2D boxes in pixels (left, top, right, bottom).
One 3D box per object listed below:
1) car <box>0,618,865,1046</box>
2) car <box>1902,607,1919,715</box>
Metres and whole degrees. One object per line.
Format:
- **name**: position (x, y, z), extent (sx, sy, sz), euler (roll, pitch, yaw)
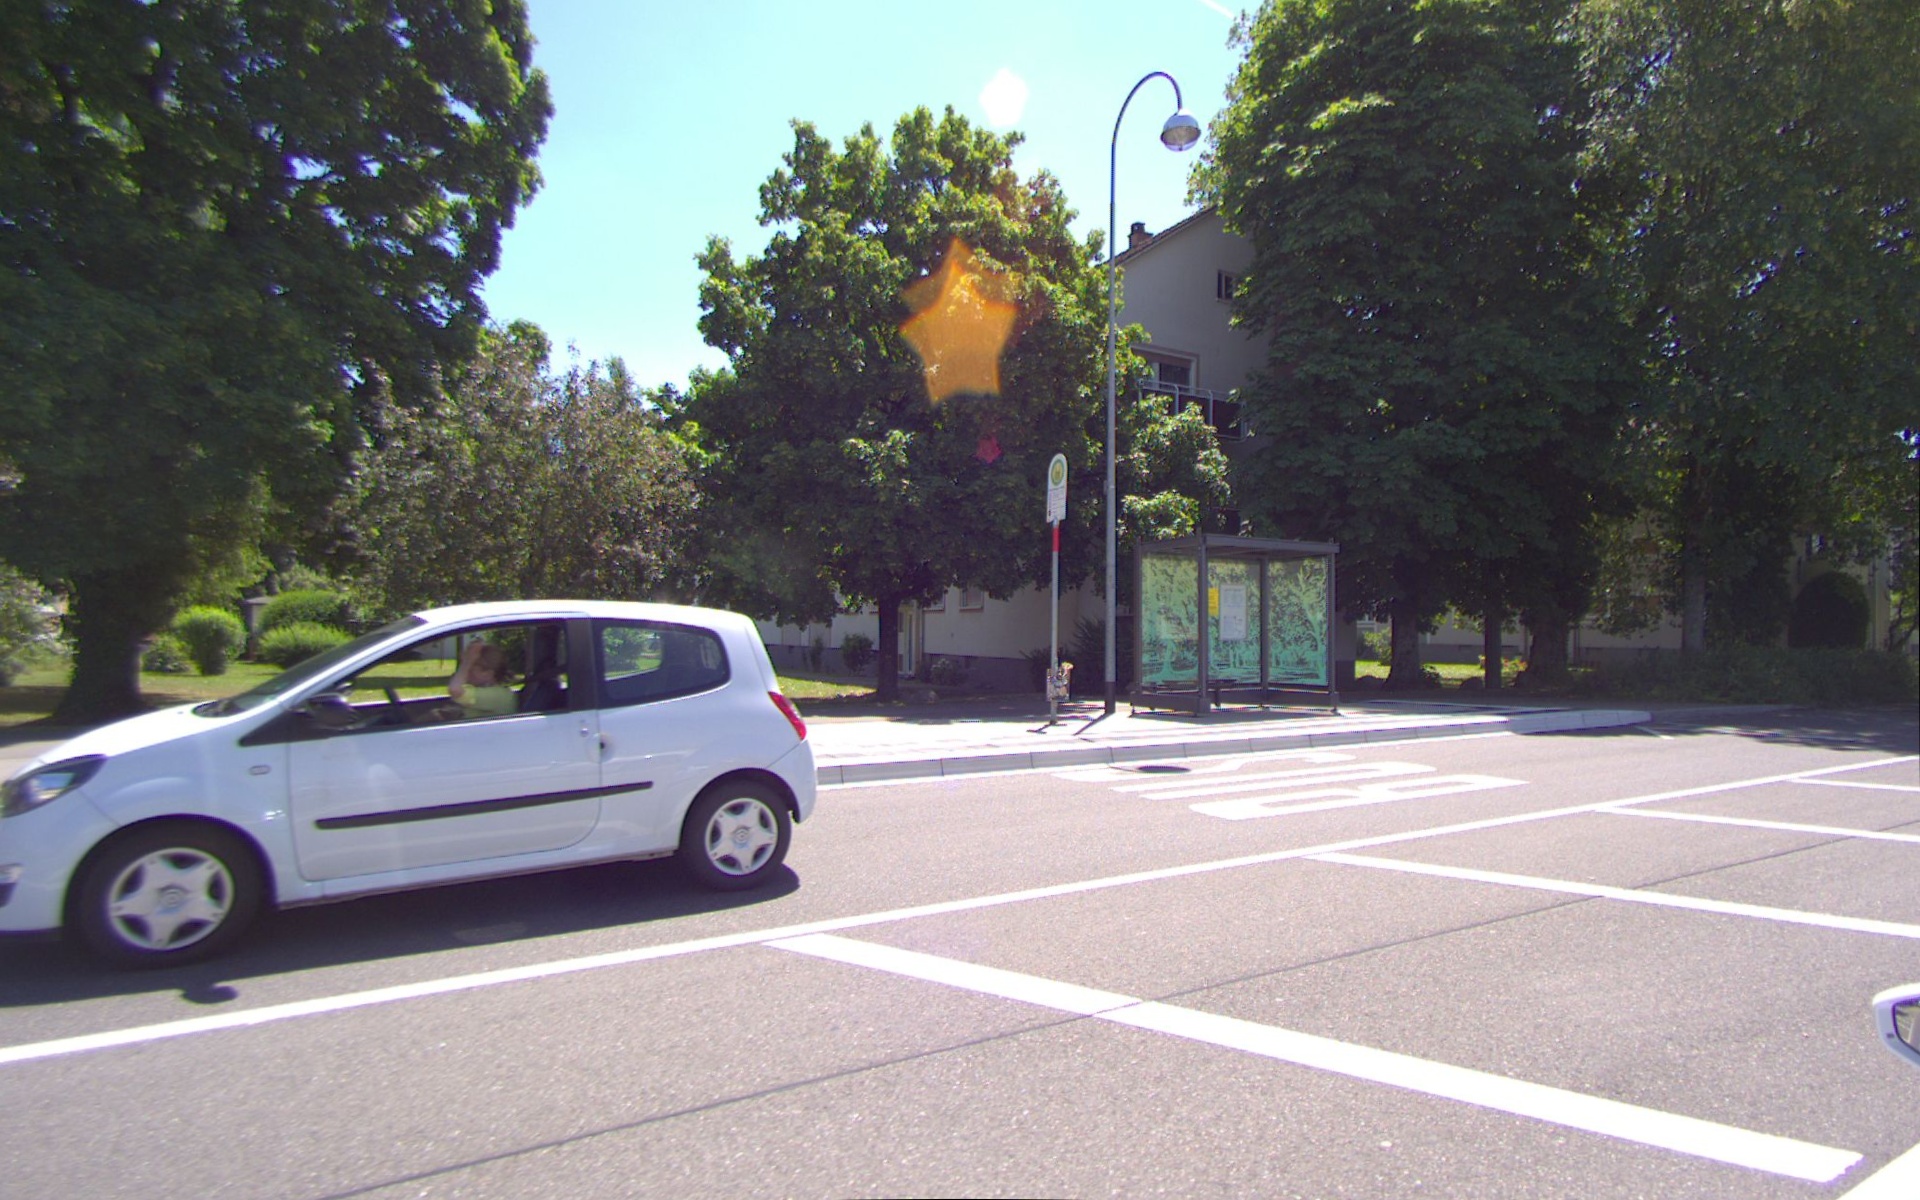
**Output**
- **car**: position (-2.478, 0.873, 5.266), extent (3.598, 1.479, 1.682), euler (0, 1, -32)
- **car**: position (19.682, 1.102, 18.645), extent (4.934, 1.935, 1.983), euler (0, 0, -32)
